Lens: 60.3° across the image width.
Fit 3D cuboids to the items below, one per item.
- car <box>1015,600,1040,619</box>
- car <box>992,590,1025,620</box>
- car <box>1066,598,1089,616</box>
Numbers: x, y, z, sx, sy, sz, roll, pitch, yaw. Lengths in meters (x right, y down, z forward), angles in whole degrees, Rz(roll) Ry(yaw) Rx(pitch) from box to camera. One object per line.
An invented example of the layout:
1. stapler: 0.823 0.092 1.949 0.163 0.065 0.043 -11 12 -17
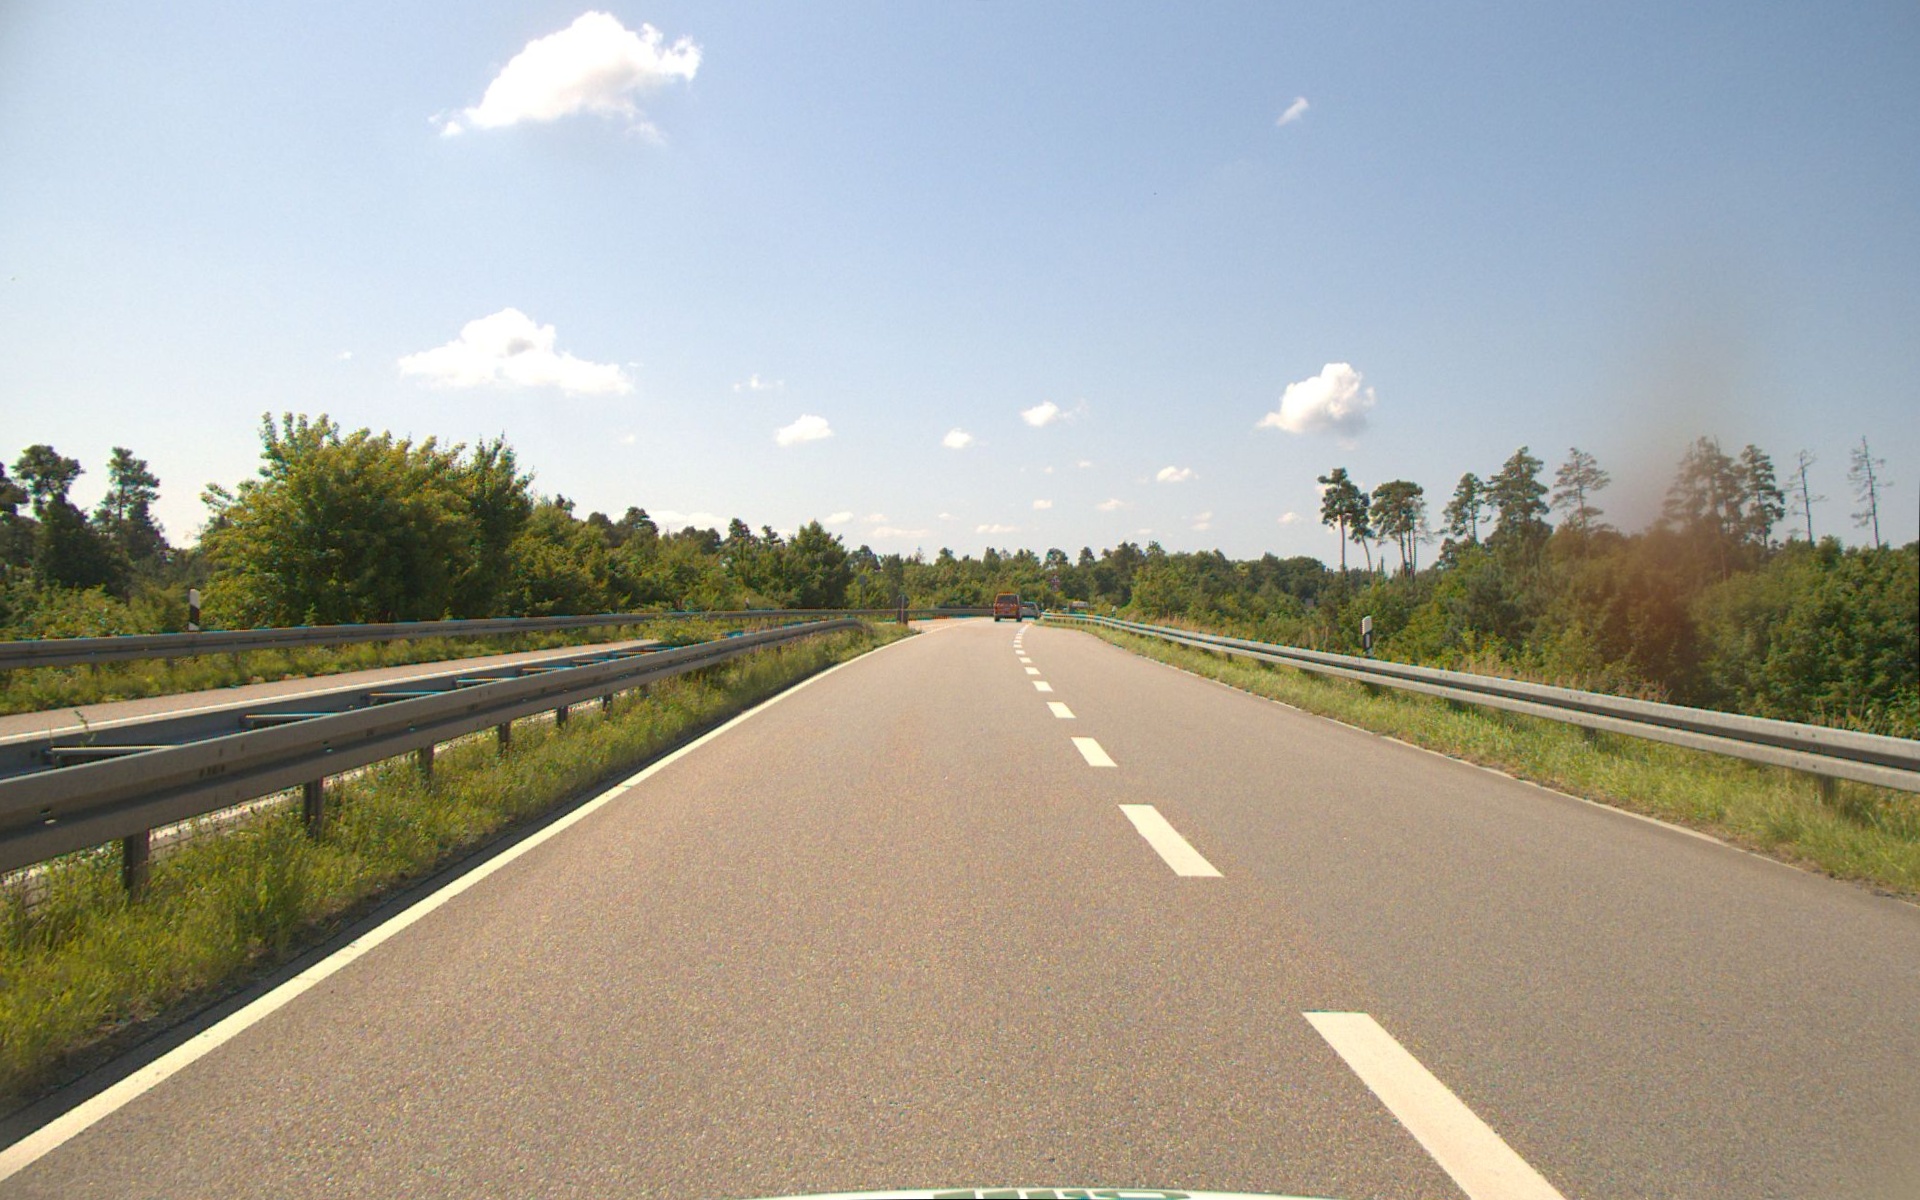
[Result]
1. car: 5.816 0.840 141.779 1.965 1.520 4.241 1 -1 5
2. car: 3.530 0.399 120.003 2.033 2.028 5.114 1 -1 5
3. car: 13.948 0.891 195.861 2.138 1.989 5.808 1 -1 9
